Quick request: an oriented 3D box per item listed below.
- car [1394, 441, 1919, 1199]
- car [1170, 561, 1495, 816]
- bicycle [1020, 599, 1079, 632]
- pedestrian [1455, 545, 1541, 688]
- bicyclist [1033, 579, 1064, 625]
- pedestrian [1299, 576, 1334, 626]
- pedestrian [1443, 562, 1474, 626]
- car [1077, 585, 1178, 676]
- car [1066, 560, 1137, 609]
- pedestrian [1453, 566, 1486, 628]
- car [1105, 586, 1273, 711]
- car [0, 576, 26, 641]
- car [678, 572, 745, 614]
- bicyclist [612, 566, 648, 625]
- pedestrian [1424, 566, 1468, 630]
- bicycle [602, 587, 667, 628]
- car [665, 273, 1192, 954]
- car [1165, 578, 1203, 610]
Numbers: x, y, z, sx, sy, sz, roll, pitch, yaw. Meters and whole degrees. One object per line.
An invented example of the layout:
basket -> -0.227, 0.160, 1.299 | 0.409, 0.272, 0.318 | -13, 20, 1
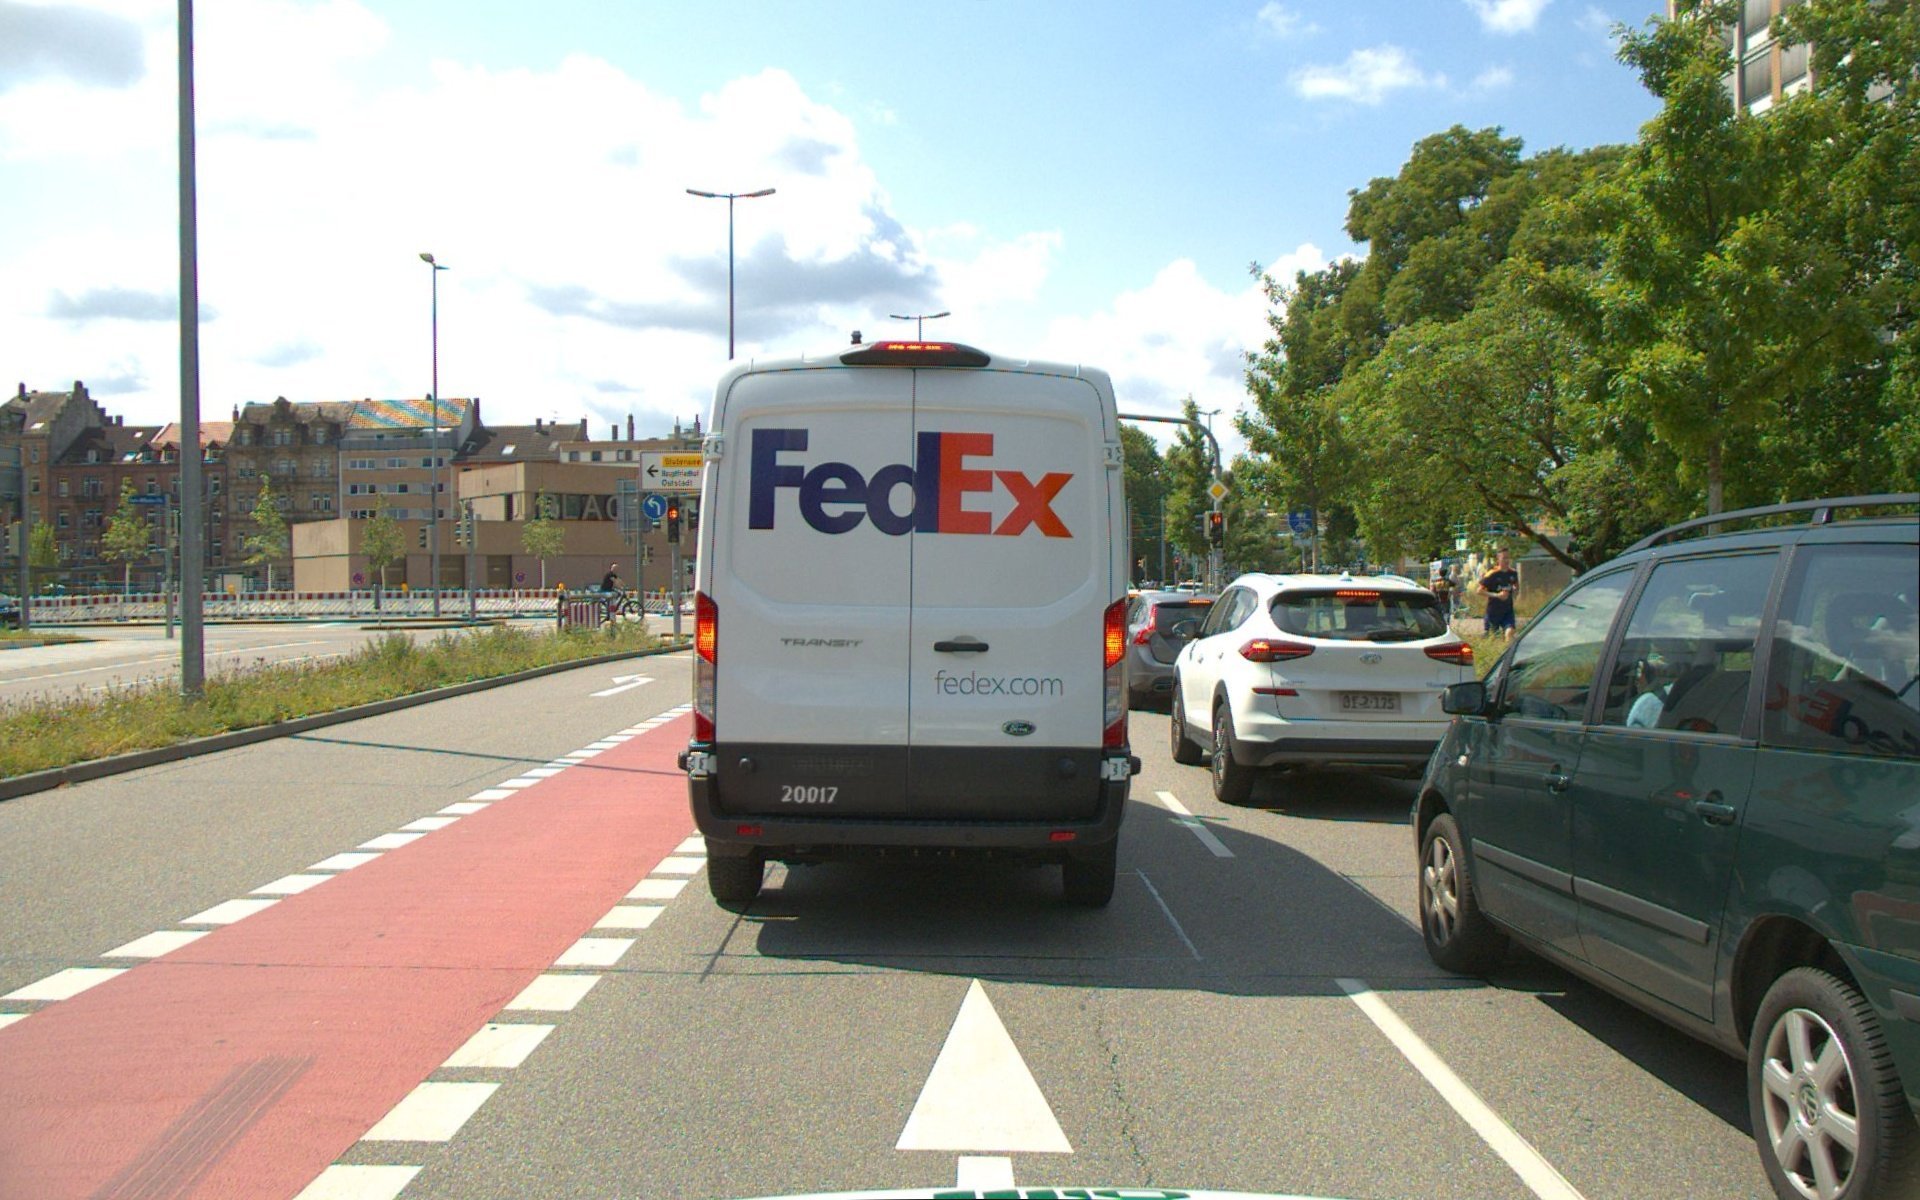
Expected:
car -> 2.839, 0.538, 5.119 | 1.775, 1.764, 4.388 | 0, 1, -1
car -> 2.769, 0.571, 13.181 | 1.760, 1.717, 4.001 | 0, 1, 1
bicycle -> 2.980, 0.513, 54.803 | 1.884, 1.048, 0.547 | 0, 0, -8
pedestrian -> 7.387, 0.217, 22.740 | 0.931, 1.925, 0.773 | 0, 0, -1
bicyclist -> 2.929, 0.059, 54.796 | 0.950, 1.500, 0.550 | 0, 0, -8
pedestrian -> 10.357, 0.027, 48.070 | 0.827, 1.413, 0.741 | 0, 0, -1
pedestrian -> 16.464, -0.207, 54.640 | 0.724, 2.094, 0.846 | 0, 0, -6
car -> 2.839, 0.473, 28.550 | 1.454, 1.453, 3.433 | 0, 1, 1
car -> 6.262, -0.661, 72.798 | 2.049, 2.049, 4.646 | -1, 0, 18
pedestrian -> 17.090, -0.102, 55.459 | 0.840, 2.049, 0.730 | -1, 1, -41
car -> 2.937, 0.571, 21.892 | 1.760, 1.486, 3.839 | 0, 1, 1
car -> -31.117, 0.270, 49.696 | 4.910, 1.911, 1.927 | 0, 1, -4
car -> -12.476, -0.362, 83.264 | 1.951, 2.049, 4.003 | -1, 0, 14
bicyclist -> -10.754, -0.153, 53.948 | 1.098, 1.877, 0.592 | -1, 1, -9
pedestrian -> 12.069, -0.052, 41.089 | 0.827, 1.565, 0.835 | 0, 1, -1
bicycle -> -10.607, 0.228, 53.964 | 2.026, 1.312, 0.603 | -1, 0, -9
car -> -0.253, 0.039, 9.457 | 2.098, 2.699, 5.701 | 0, 0, -3
car -> 13.496, -0.349, 99.444 | 1.951, 1.825, 4.375 | -1, 0, 12
